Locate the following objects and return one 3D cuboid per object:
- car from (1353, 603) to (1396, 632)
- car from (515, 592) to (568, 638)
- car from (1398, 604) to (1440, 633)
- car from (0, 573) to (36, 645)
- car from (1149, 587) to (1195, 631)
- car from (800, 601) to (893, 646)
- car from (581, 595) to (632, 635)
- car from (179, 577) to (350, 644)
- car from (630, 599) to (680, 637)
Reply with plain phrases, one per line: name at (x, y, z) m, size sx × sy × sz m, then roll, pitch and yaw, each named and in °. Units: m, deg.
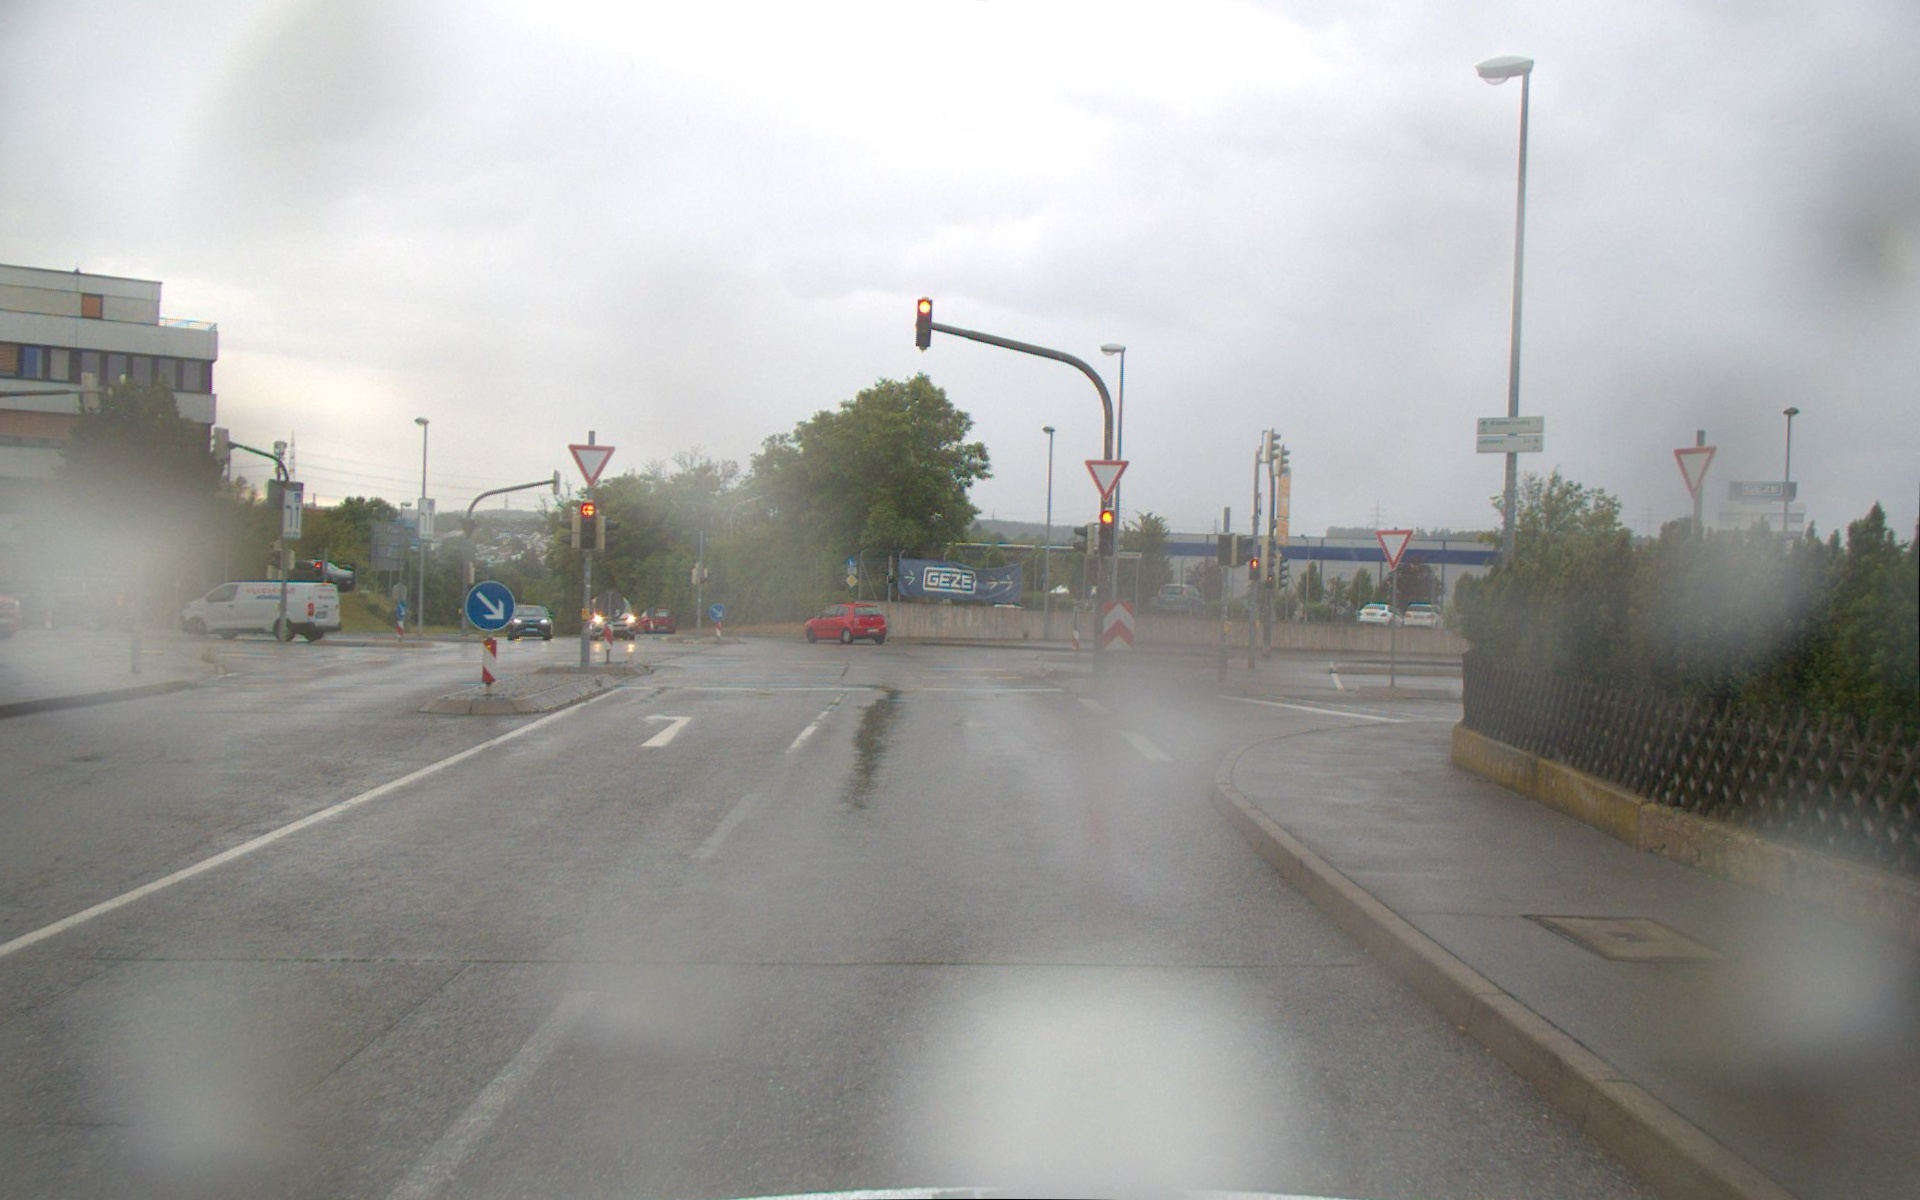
car at (23.136, 0.965, 92.209) m, size 1.952 × 1.504 × 4.001 m, roll 1°, pitch 0°, yaw 20°
car at (-18.197, 0.673, 71.843) m, size 1.963 × 1.928 × 3.979 m, roll 2°, pitch -2°, yaw -18°
car at (25.426, 1.022, 91.595) m, size 1.952 × 1.504 × 4.001 m, roll 1°, pitch 0°, yaw 19°
car at (-29.497, 0.222, 47.958) m, size 4.671 × 2.049 × 2.001 m, roll 1°, pitch 0°, yaw 17°
car at (10.460, 0.442, 81.544) m, size 1.951 × 2.049 × 4.003 m, roll 1°, pitch 0°, yaw 11°
car at (-4.272, 0.870, 61.785) m, size 1.604 × 1.474 × 3.756 m, roll 2°, pitch 1°, yaw -38°
car at (-15.249, 0.617, 71.222) m, size 1.960 × 1.646 × 3.985 m, roll 1°, pitch 0°, yaw -15°
car at (-23.129, 0.347, 55.064) m, size 4.889 × 2.049 × 2.002 m, roll 1°, pitch 0°, yaw 10°
car at (-17.053, 0.975, 92.321) m, size 1.965 × 1.940 × 3.974 m, roll 2°, pitch 0°, yaw -22°
